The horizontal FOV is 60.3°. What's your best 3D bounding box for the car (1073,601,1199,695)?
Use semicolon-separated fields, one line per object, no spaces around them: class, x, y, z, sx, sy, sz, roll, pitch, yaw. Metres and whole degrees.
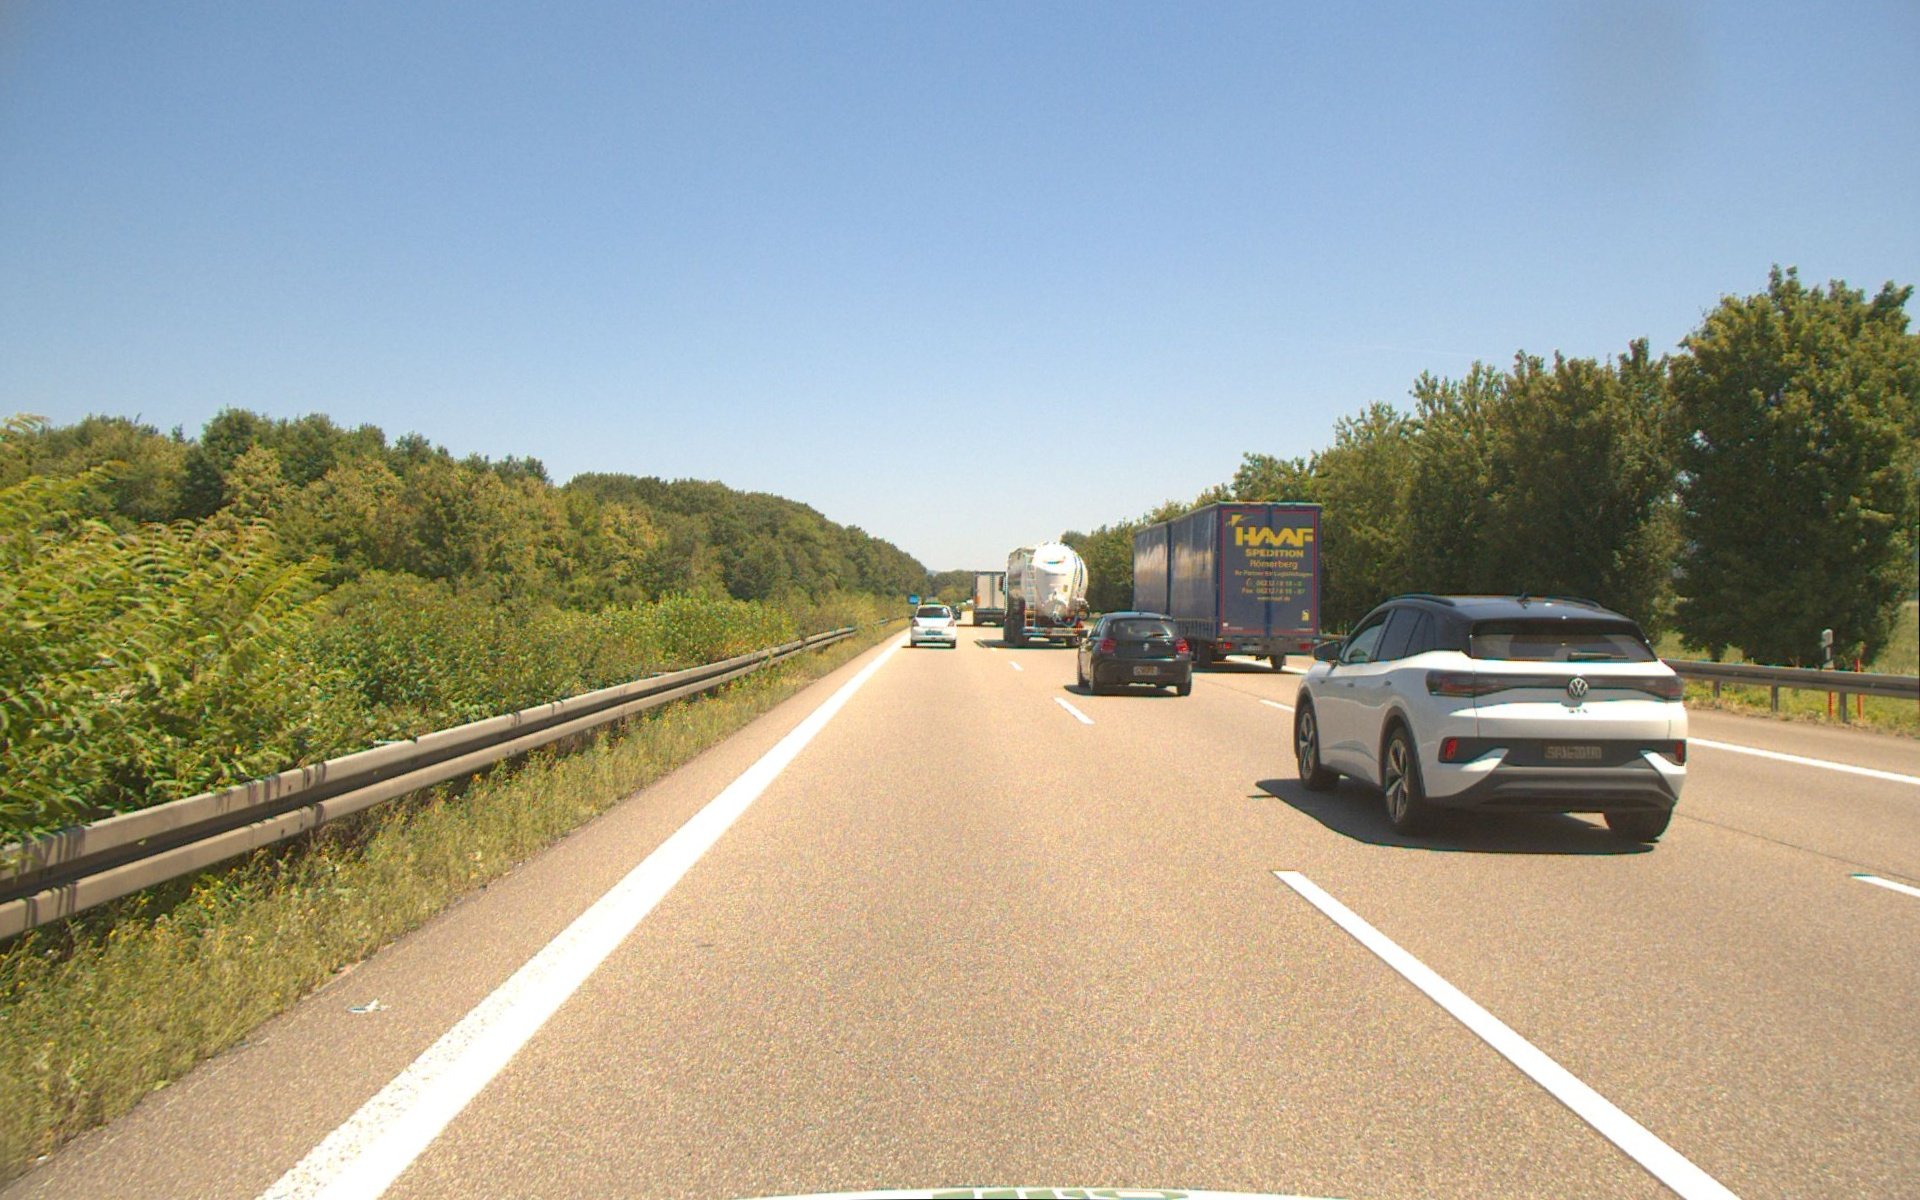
car;3.115;0.820;29.983;1.812;1.549;3.956;1;0;-1

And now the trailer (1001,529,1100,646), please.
trailer;3.412;-0.460;65.702;2.853;4.140;12.414;1;0;-2

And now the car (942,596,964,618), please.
car;-0.834;0.817;186.838;2.425;2.395;5.181;1;0;-1

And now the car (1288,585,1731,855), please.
car;3.823;0.740;12.386;1.766;1.631;4.379;1;0;-1

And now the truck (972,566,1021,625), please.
truck;2.735;-0.335;127.698;3.325;4.287;12.081;1;0;-1

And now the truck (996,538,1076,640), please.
truck;3.221;-0.459;71.789;2.853;4.150;7.192;1;0;-2

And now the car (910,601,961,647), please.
car;-0.926;0.844;60.212;1.763;1.579;3.608;1;0;-2

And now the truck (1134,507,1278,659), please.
truck;7.307;-0.482;50.350;3.045;4.211;8.055;1;0;-1

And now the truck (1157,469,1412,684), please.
truck;7.385;-0.471;40.675;3.045;4.211;15.509;1;0;0
